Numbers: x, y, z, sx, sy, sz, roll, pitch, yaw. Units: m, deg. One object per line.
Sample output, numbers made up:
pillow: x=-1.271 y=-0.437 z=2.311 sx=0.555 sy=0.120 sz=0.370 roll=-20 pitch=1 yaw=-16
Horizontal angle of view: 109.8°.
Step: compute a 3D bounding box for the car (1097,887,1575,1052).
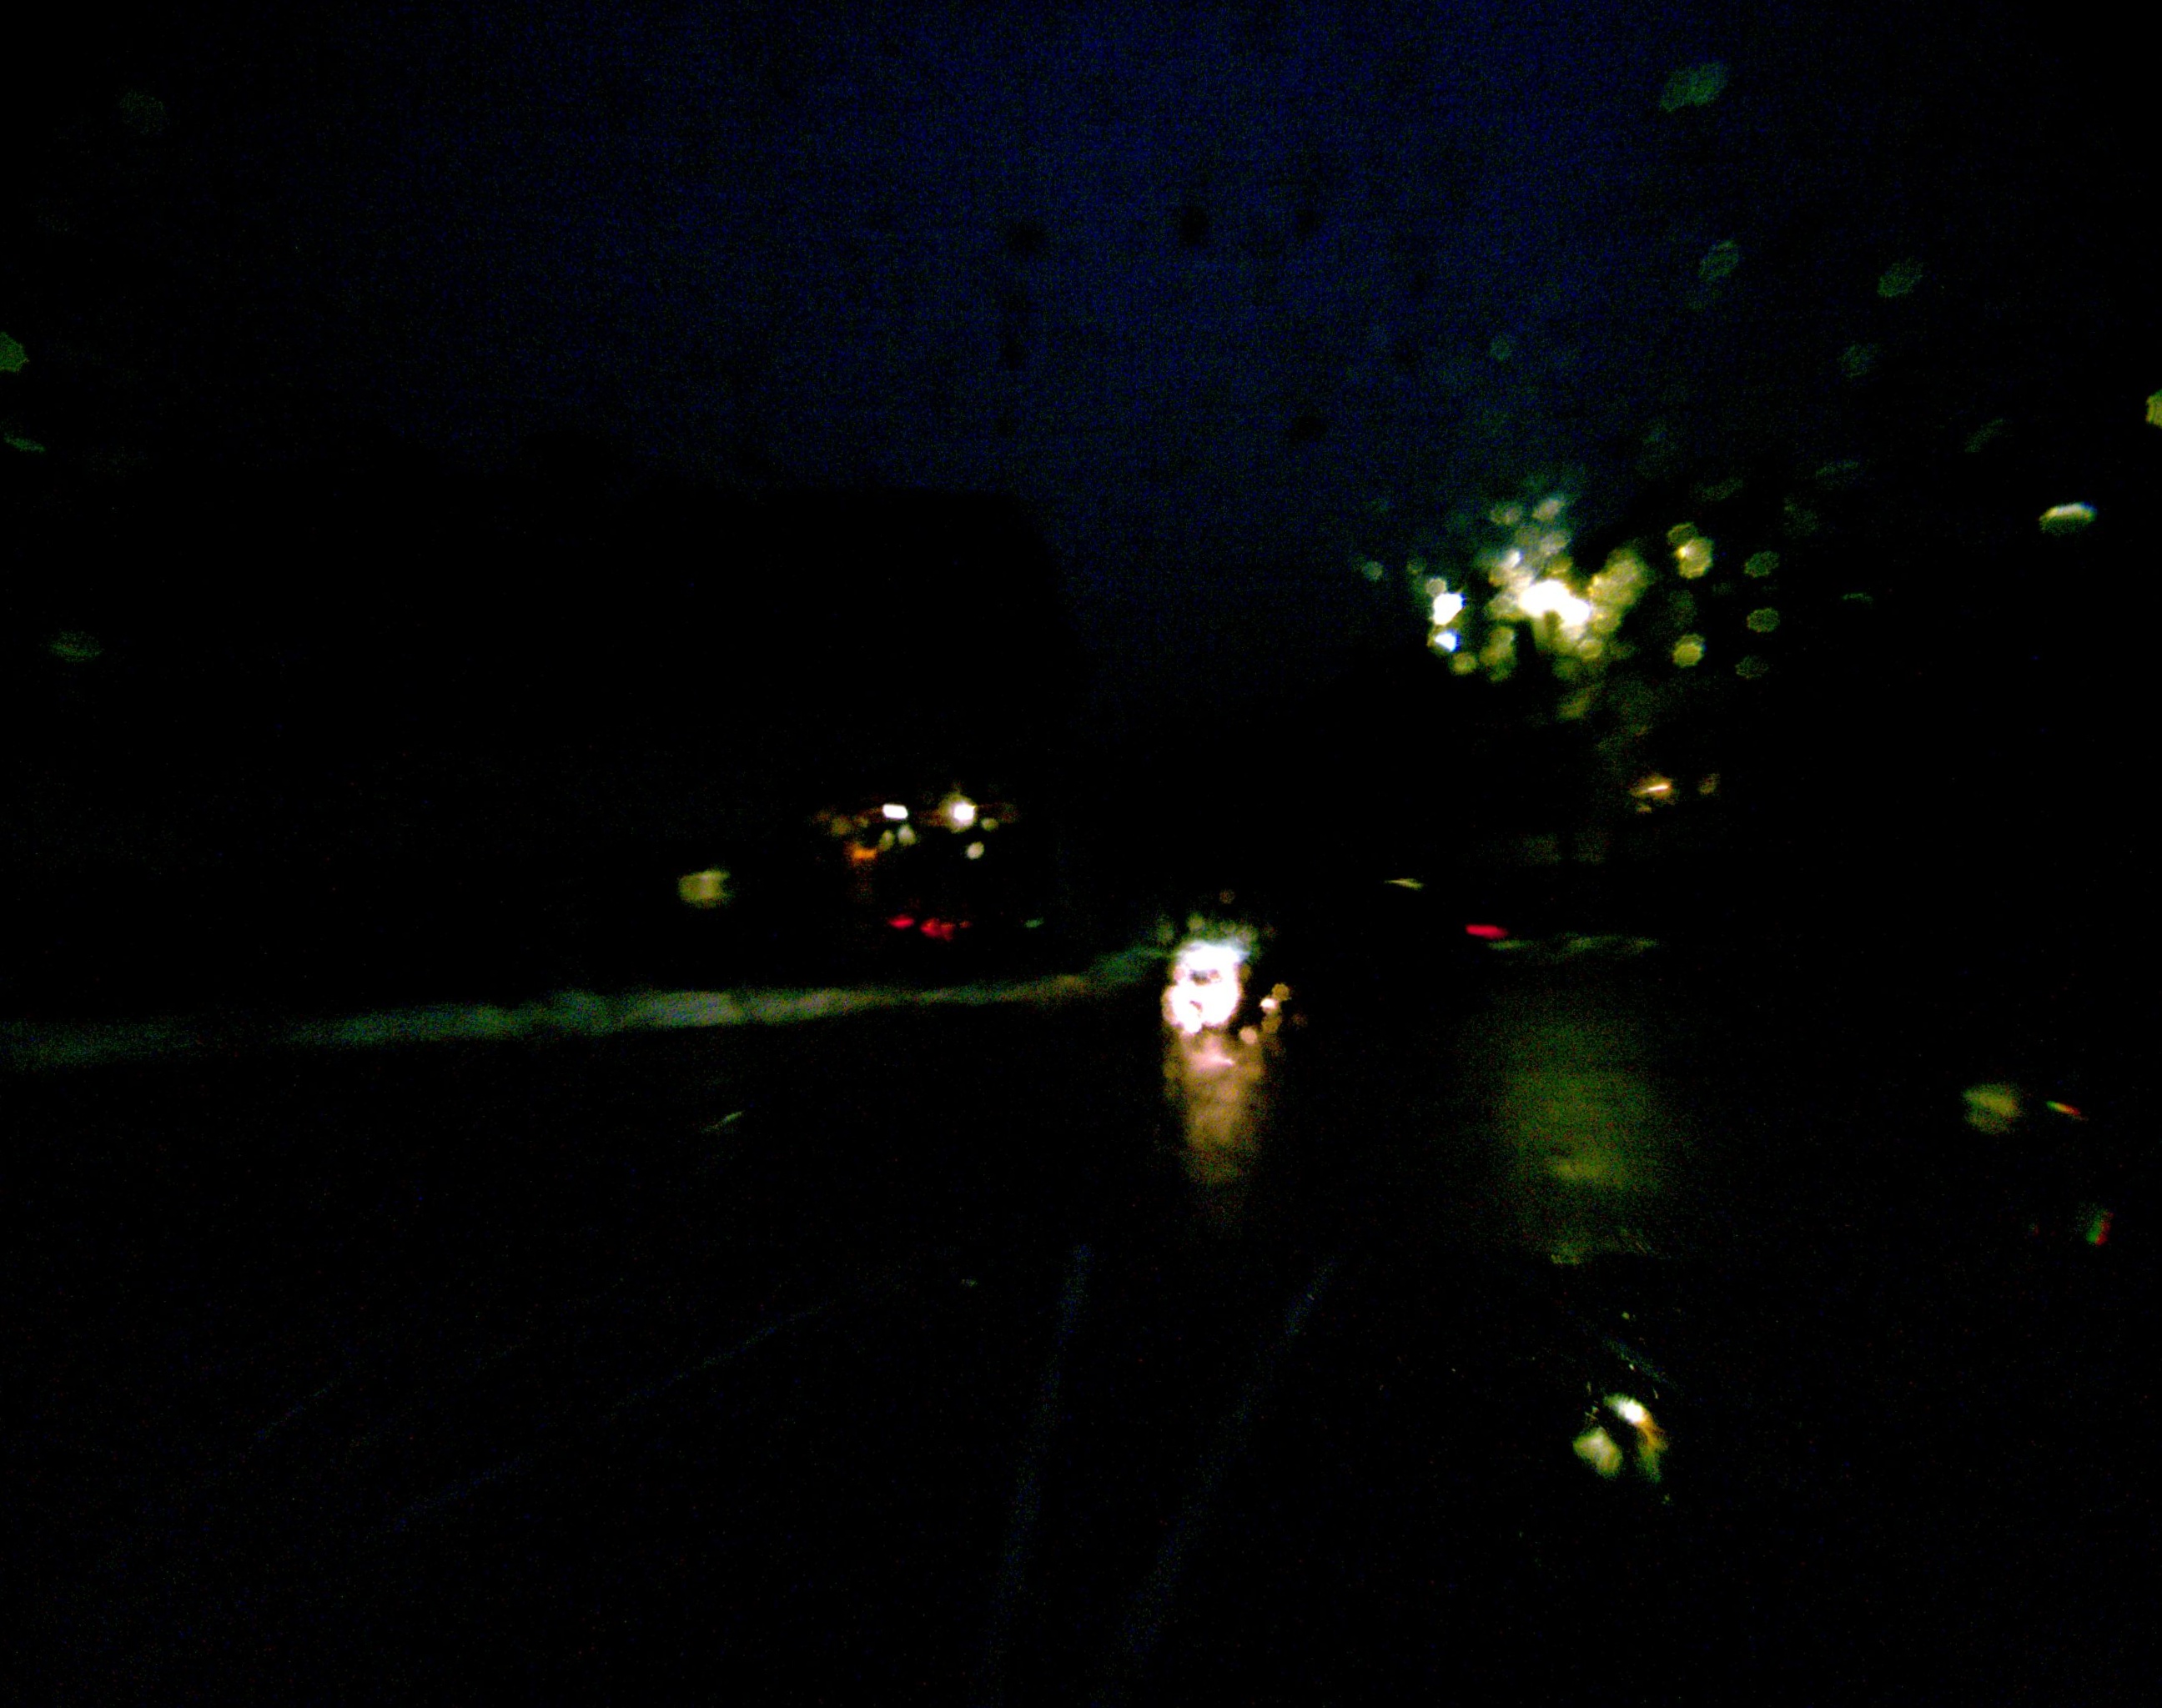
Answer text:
car: x=2.857 y=1.113 z=8.602 sx=4.938 sy=1.373 sz=1.997 roll=0 pitch=-2 yaw=-20
